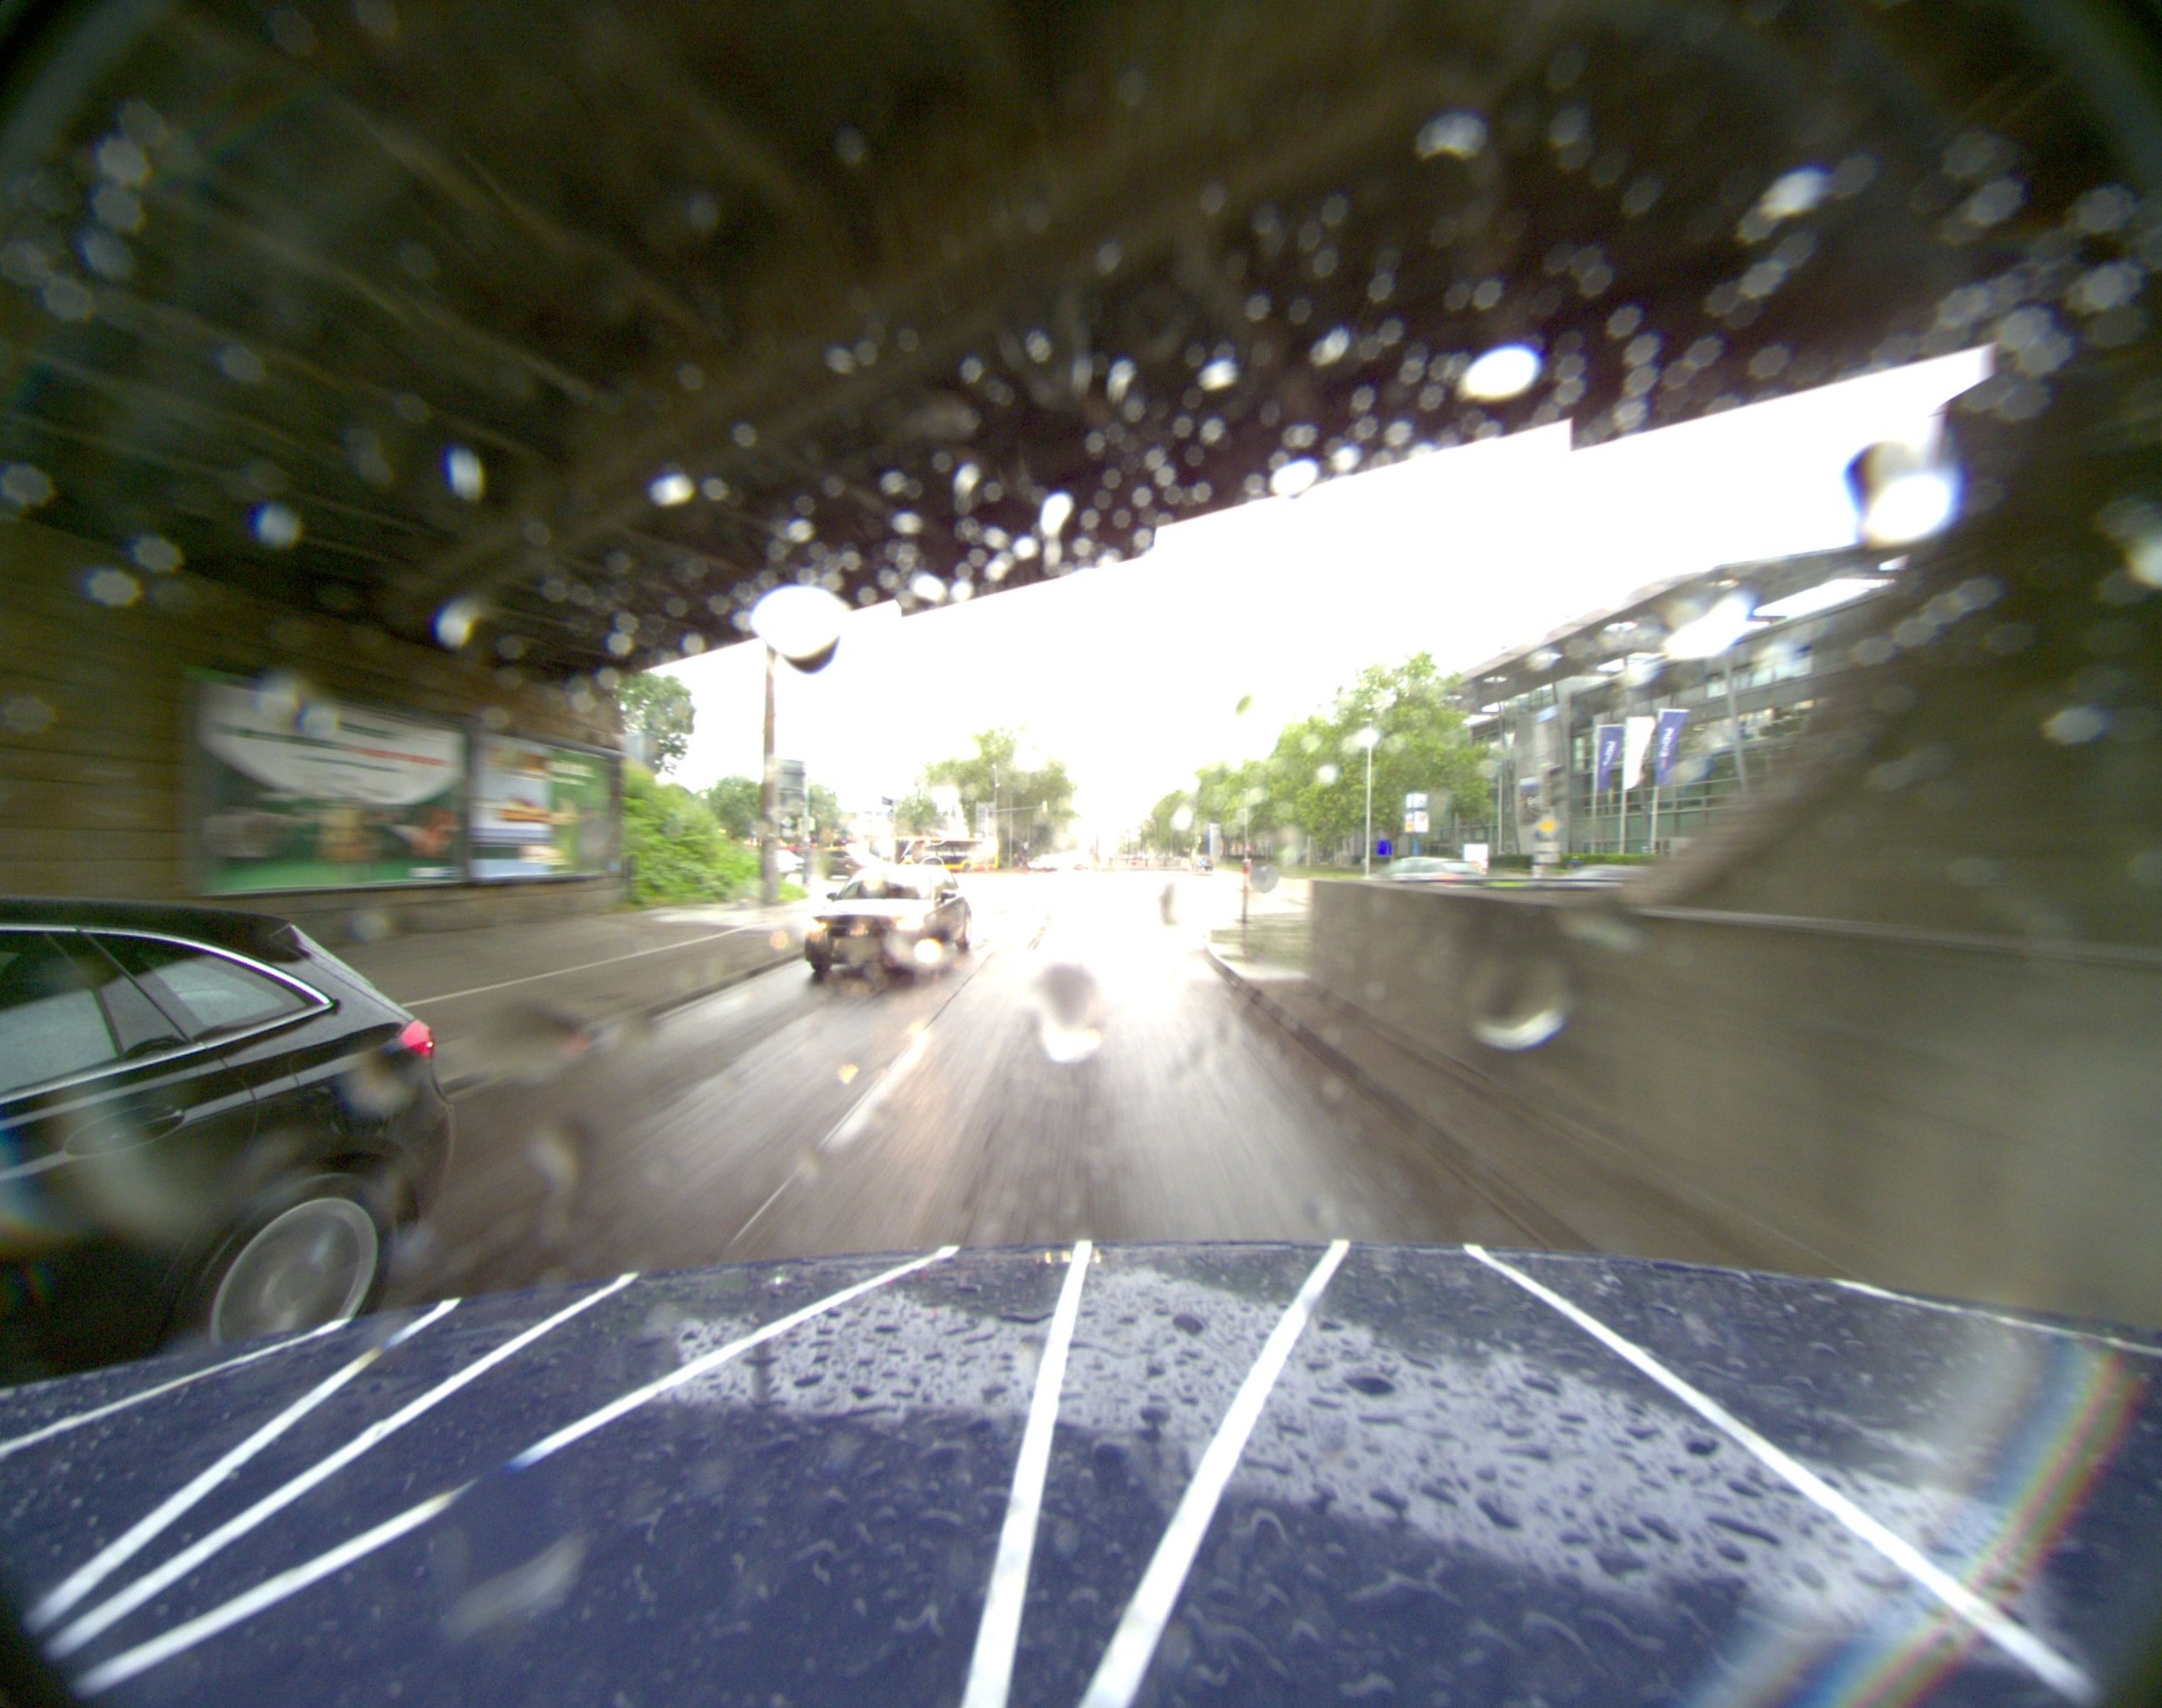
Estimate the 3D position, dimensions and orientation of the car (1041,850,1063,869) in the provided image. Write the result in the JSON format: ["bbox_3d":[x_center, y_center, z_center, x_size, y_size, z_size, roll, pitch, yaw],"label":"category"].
[{"bbox_3d":[-2.698,0.498,71.731,1.932,1.641,4.341,1,1,-1],"label":"car"}]

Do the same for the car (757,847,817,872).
[{"bbox_3d":[-21.622,0.344,55.915,4.289,1.710,2.181,1,1,37],"label":"car"}]

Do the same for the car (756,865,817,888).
[{"bbox_3d":[-19.823,1.484,51.168,3.988,1.350,1.837,1,1,33],"label":"car"}]

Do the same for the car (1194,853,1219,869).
[{"bbox_3d":[13.469,0.746,81.860,1.905,1.622,4.169,1,1,-1],"label":"car"}]

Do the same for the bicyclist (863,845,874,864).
[{"bbox_3d":[-21.005,0.067,75.101,0.620,1.871,0.771,1,2,35],"label":"bicyclist"}]

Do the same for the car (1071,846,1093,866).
[{"bbox_3d":[0.046,0.175,73.510,2.077,1.838,4.745,1,1,-1],"label":"car"}]

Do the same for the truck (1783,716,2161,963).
[{"bbox_3d":[18.513,-0.230,13.352,2.686,3.926,10.192,1,1,-1],"label":"truck"}]

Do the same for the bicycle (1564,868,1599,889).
[{"bbox_3d":[27.008,1.289,41.019,0.694,1.088,1.914,1,-1,5],"label":"bicycle"}]

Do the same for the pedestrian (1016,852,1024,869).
[{"bbox_3d":[-5.966,0.677,74.727,0.644,1.642,0.626,1,0,6],"label":"pedestrian"}]

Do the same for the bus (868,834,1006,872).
[{"bbox_3d":[-13.028,-0.128,69.950,12.315,3.249,3.265,0,1,-39],"label":"bus"}]

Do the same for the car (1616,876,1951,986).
[{"bbox_3d":[11.695,1.185,13.102,1.821,1.444,3.997,1,1,-6],"label":"car"}]

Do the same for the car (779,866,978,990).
[{"bbox_3d":[-2.747,0.945,11.238,1.840,1.390,3.753,-1,1,1],"label":"car"}]

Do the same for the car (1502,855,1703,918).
[{"bbox_3d":[14.146,0.804,21.015,1.746,1.477,4.679,1,1,-11],"label":"car"}]

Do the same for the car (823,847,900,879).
[{"bbox_3d":[-12.297,0.494,42.513,4.049,1.647,2.033,1,1,35],"label":"car"}]

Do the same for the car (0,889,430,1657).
[{"bbox_3d":[-3.160,0.900,0.544,1.875,1.515,4.086,1,1,0],"label":"car"}]

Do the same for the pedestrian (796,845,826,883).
[{"bbox_3d":[-12.347,0.465,34.779,0.817,1.709,1.007,1,1,27],"label":"pedestrian"}]

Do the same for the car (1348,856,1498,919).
[{"bbox_3d":[9.563,0.870,21.598,1.661,1.537,3.993,0,1,-16],"label":"car"}]

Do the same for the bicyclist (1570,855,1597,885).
[{"bbox_3d":[27.087,0.839,40.949,0.804,1.584,1.047,1,-1,4],"label":"bicyclist"}]
